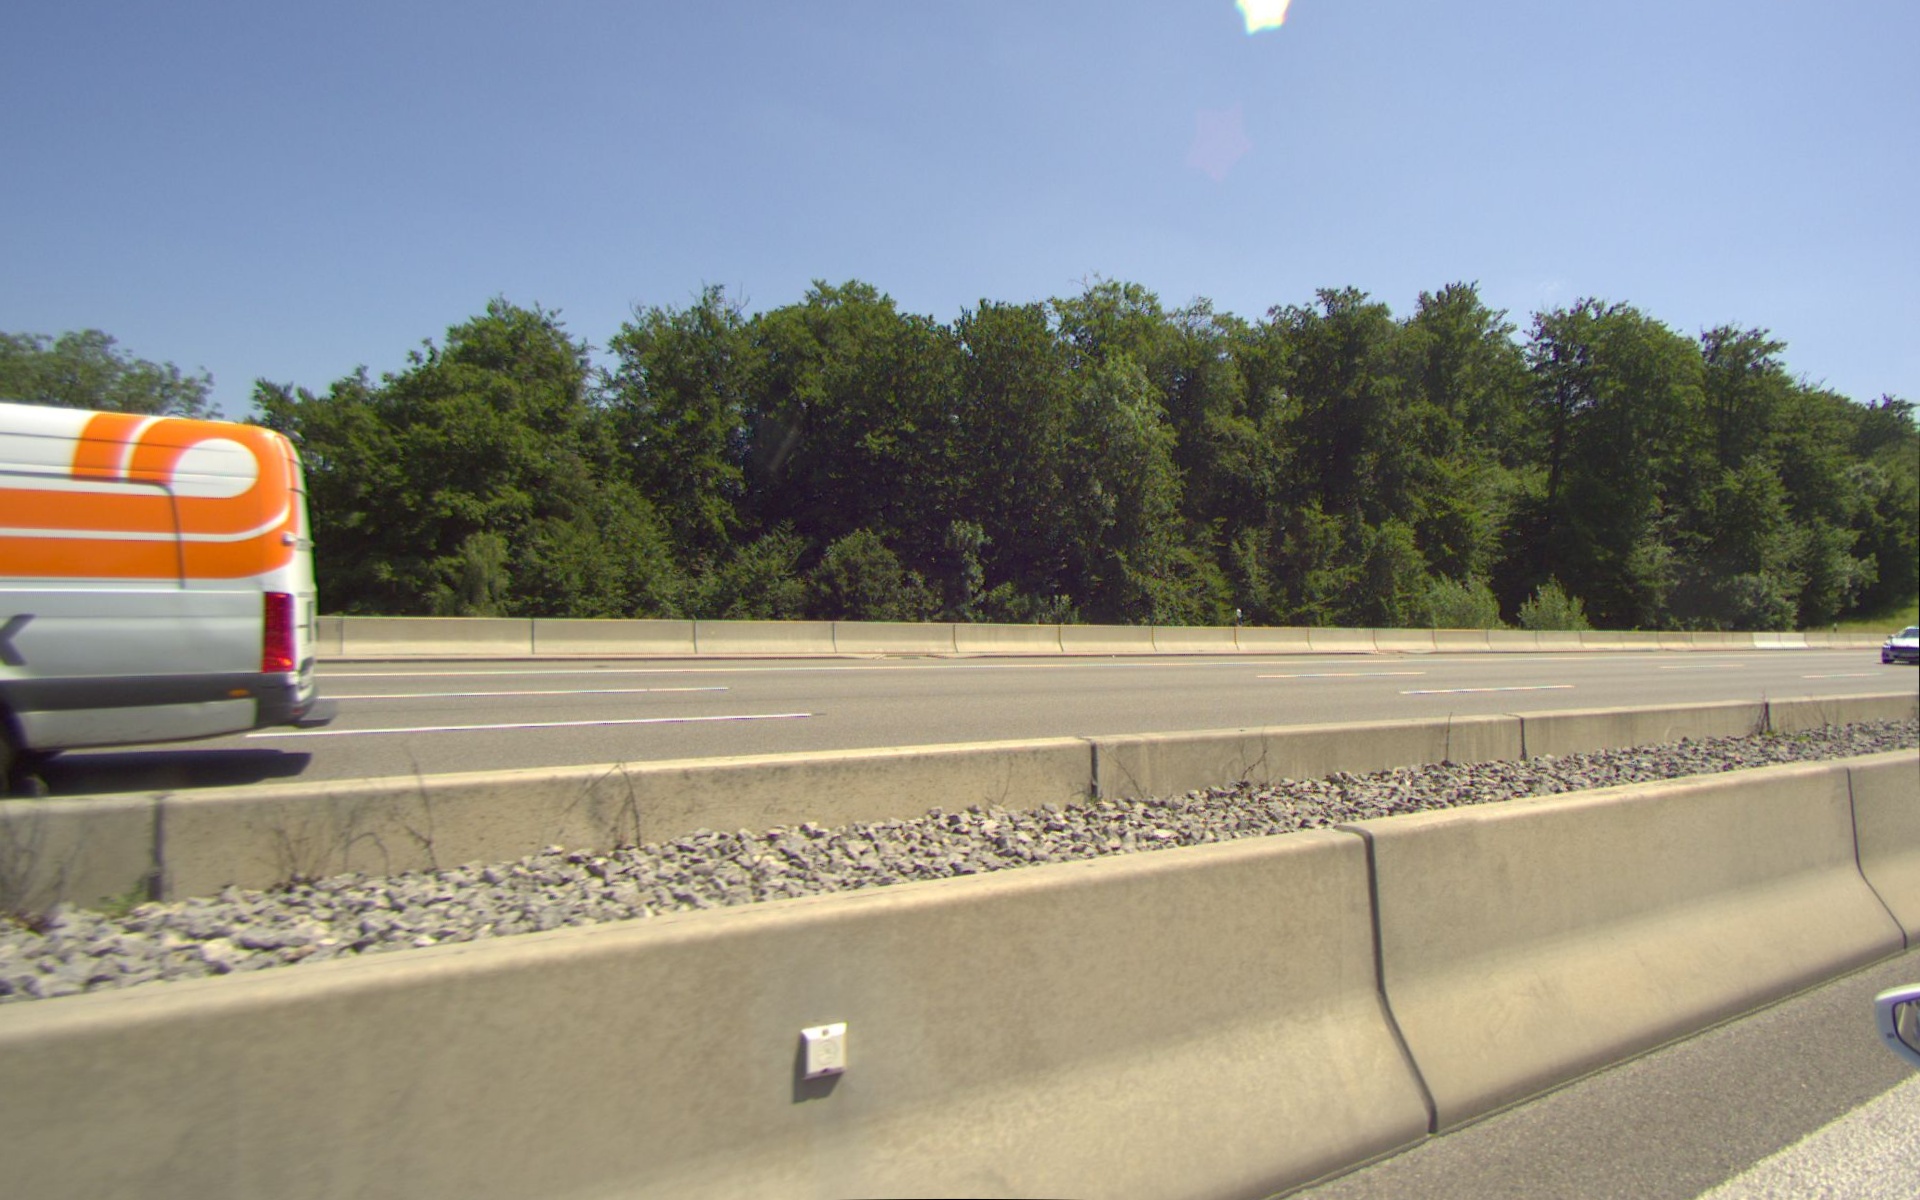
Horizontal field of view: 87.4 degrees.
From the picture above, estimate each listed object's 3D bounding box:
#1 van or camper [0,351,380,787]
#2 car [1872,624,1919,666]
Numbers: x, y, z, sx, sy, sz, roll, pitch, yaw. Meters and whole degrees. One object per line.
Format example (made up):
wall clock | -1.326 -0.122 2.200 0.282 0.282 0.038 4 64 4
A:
van or camper | -8.075 -0.244 6.595 7.329 2.837 1.983 1 0 -31
car | 37.263 1.746 38.765 4.441 1.502 1.754 2 1 -30
